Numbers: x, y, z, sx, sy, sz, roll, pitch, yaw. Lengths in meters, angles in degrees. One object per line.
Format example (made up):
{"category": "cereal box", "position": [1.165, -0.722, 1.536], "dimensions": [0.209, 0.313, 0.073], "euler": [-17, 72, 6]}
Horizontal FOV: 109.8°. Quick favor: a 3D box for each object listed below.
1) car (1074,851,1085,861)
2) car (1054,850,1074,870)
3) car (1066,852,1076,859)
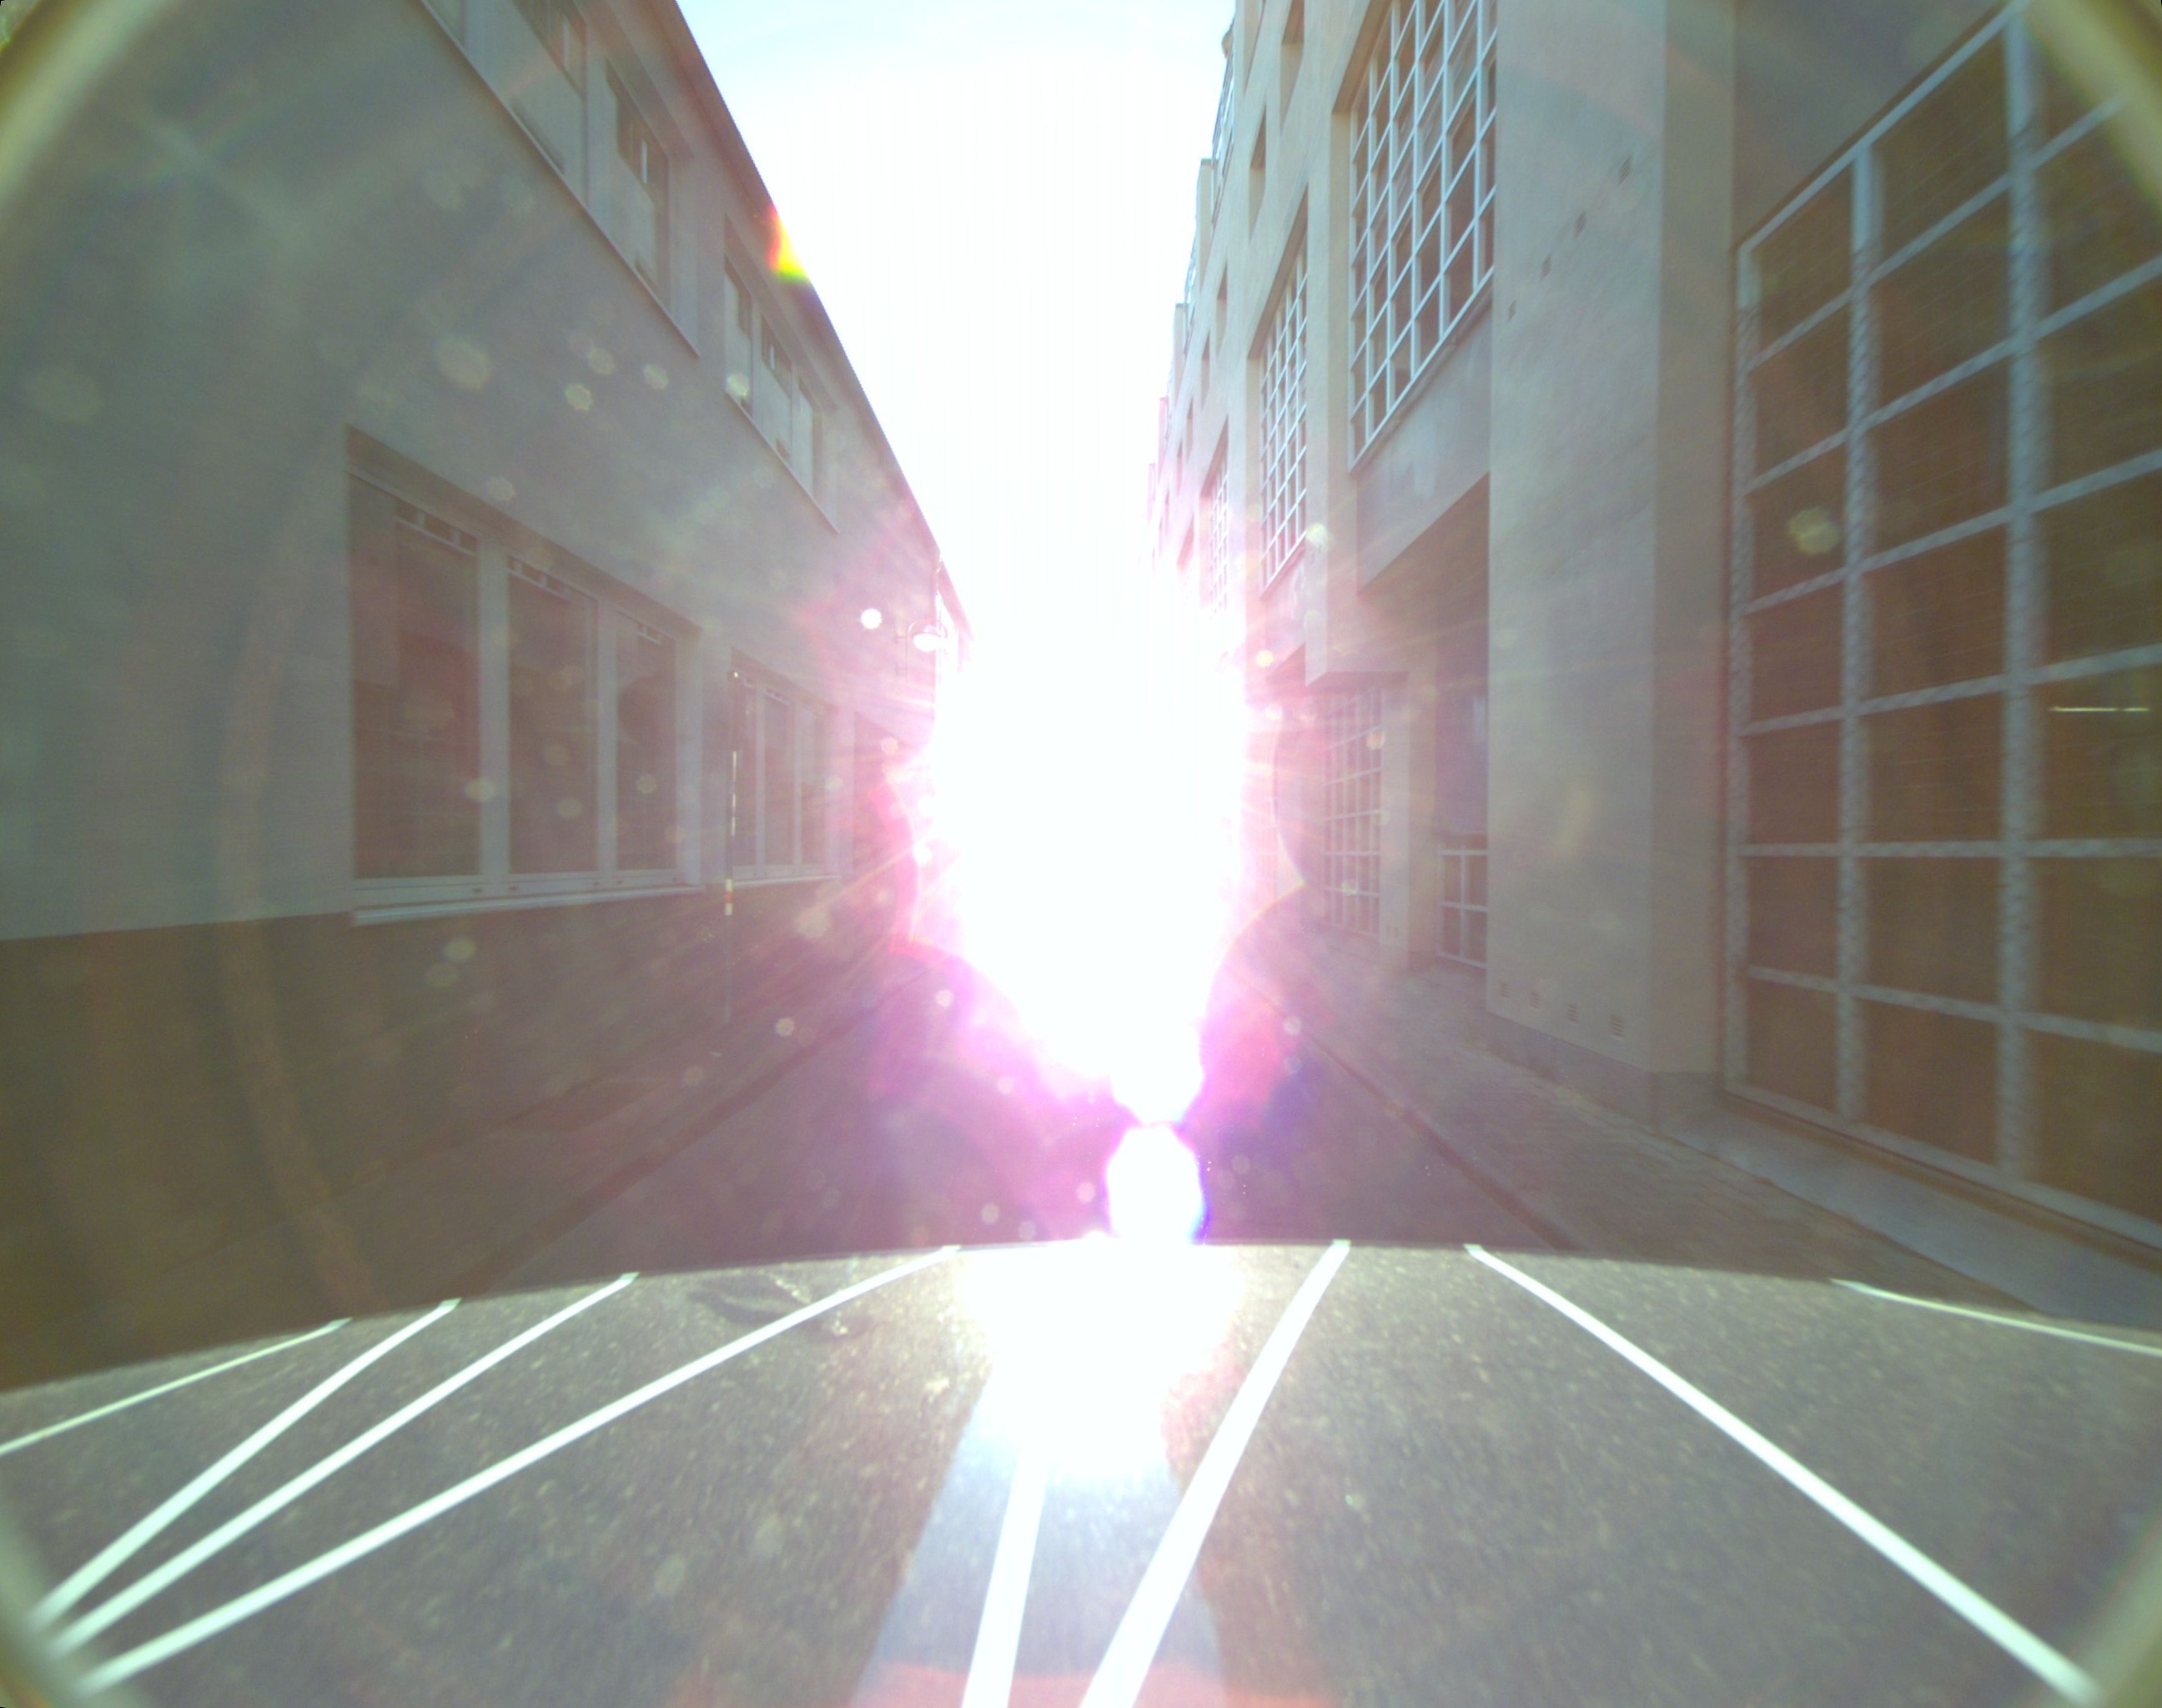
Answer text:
{"category": "car", "position": [-0.301, 0.326, 137.377], "dimensions": [1.999, 1.805, 3.999], "euler": [-2, 0, -1]}
{"category": "car", "position": [-1.569, 0.522, 71.752], "dimensions": [1.764, 1.756, 4.750], "euler": [-2, 0, 0]}
{"category": "car", "position": [-2.162, 0.291, 156.408], "dimensions": [1.806, 1.415, 3.754], "euler": [-2, 0, -4]}
